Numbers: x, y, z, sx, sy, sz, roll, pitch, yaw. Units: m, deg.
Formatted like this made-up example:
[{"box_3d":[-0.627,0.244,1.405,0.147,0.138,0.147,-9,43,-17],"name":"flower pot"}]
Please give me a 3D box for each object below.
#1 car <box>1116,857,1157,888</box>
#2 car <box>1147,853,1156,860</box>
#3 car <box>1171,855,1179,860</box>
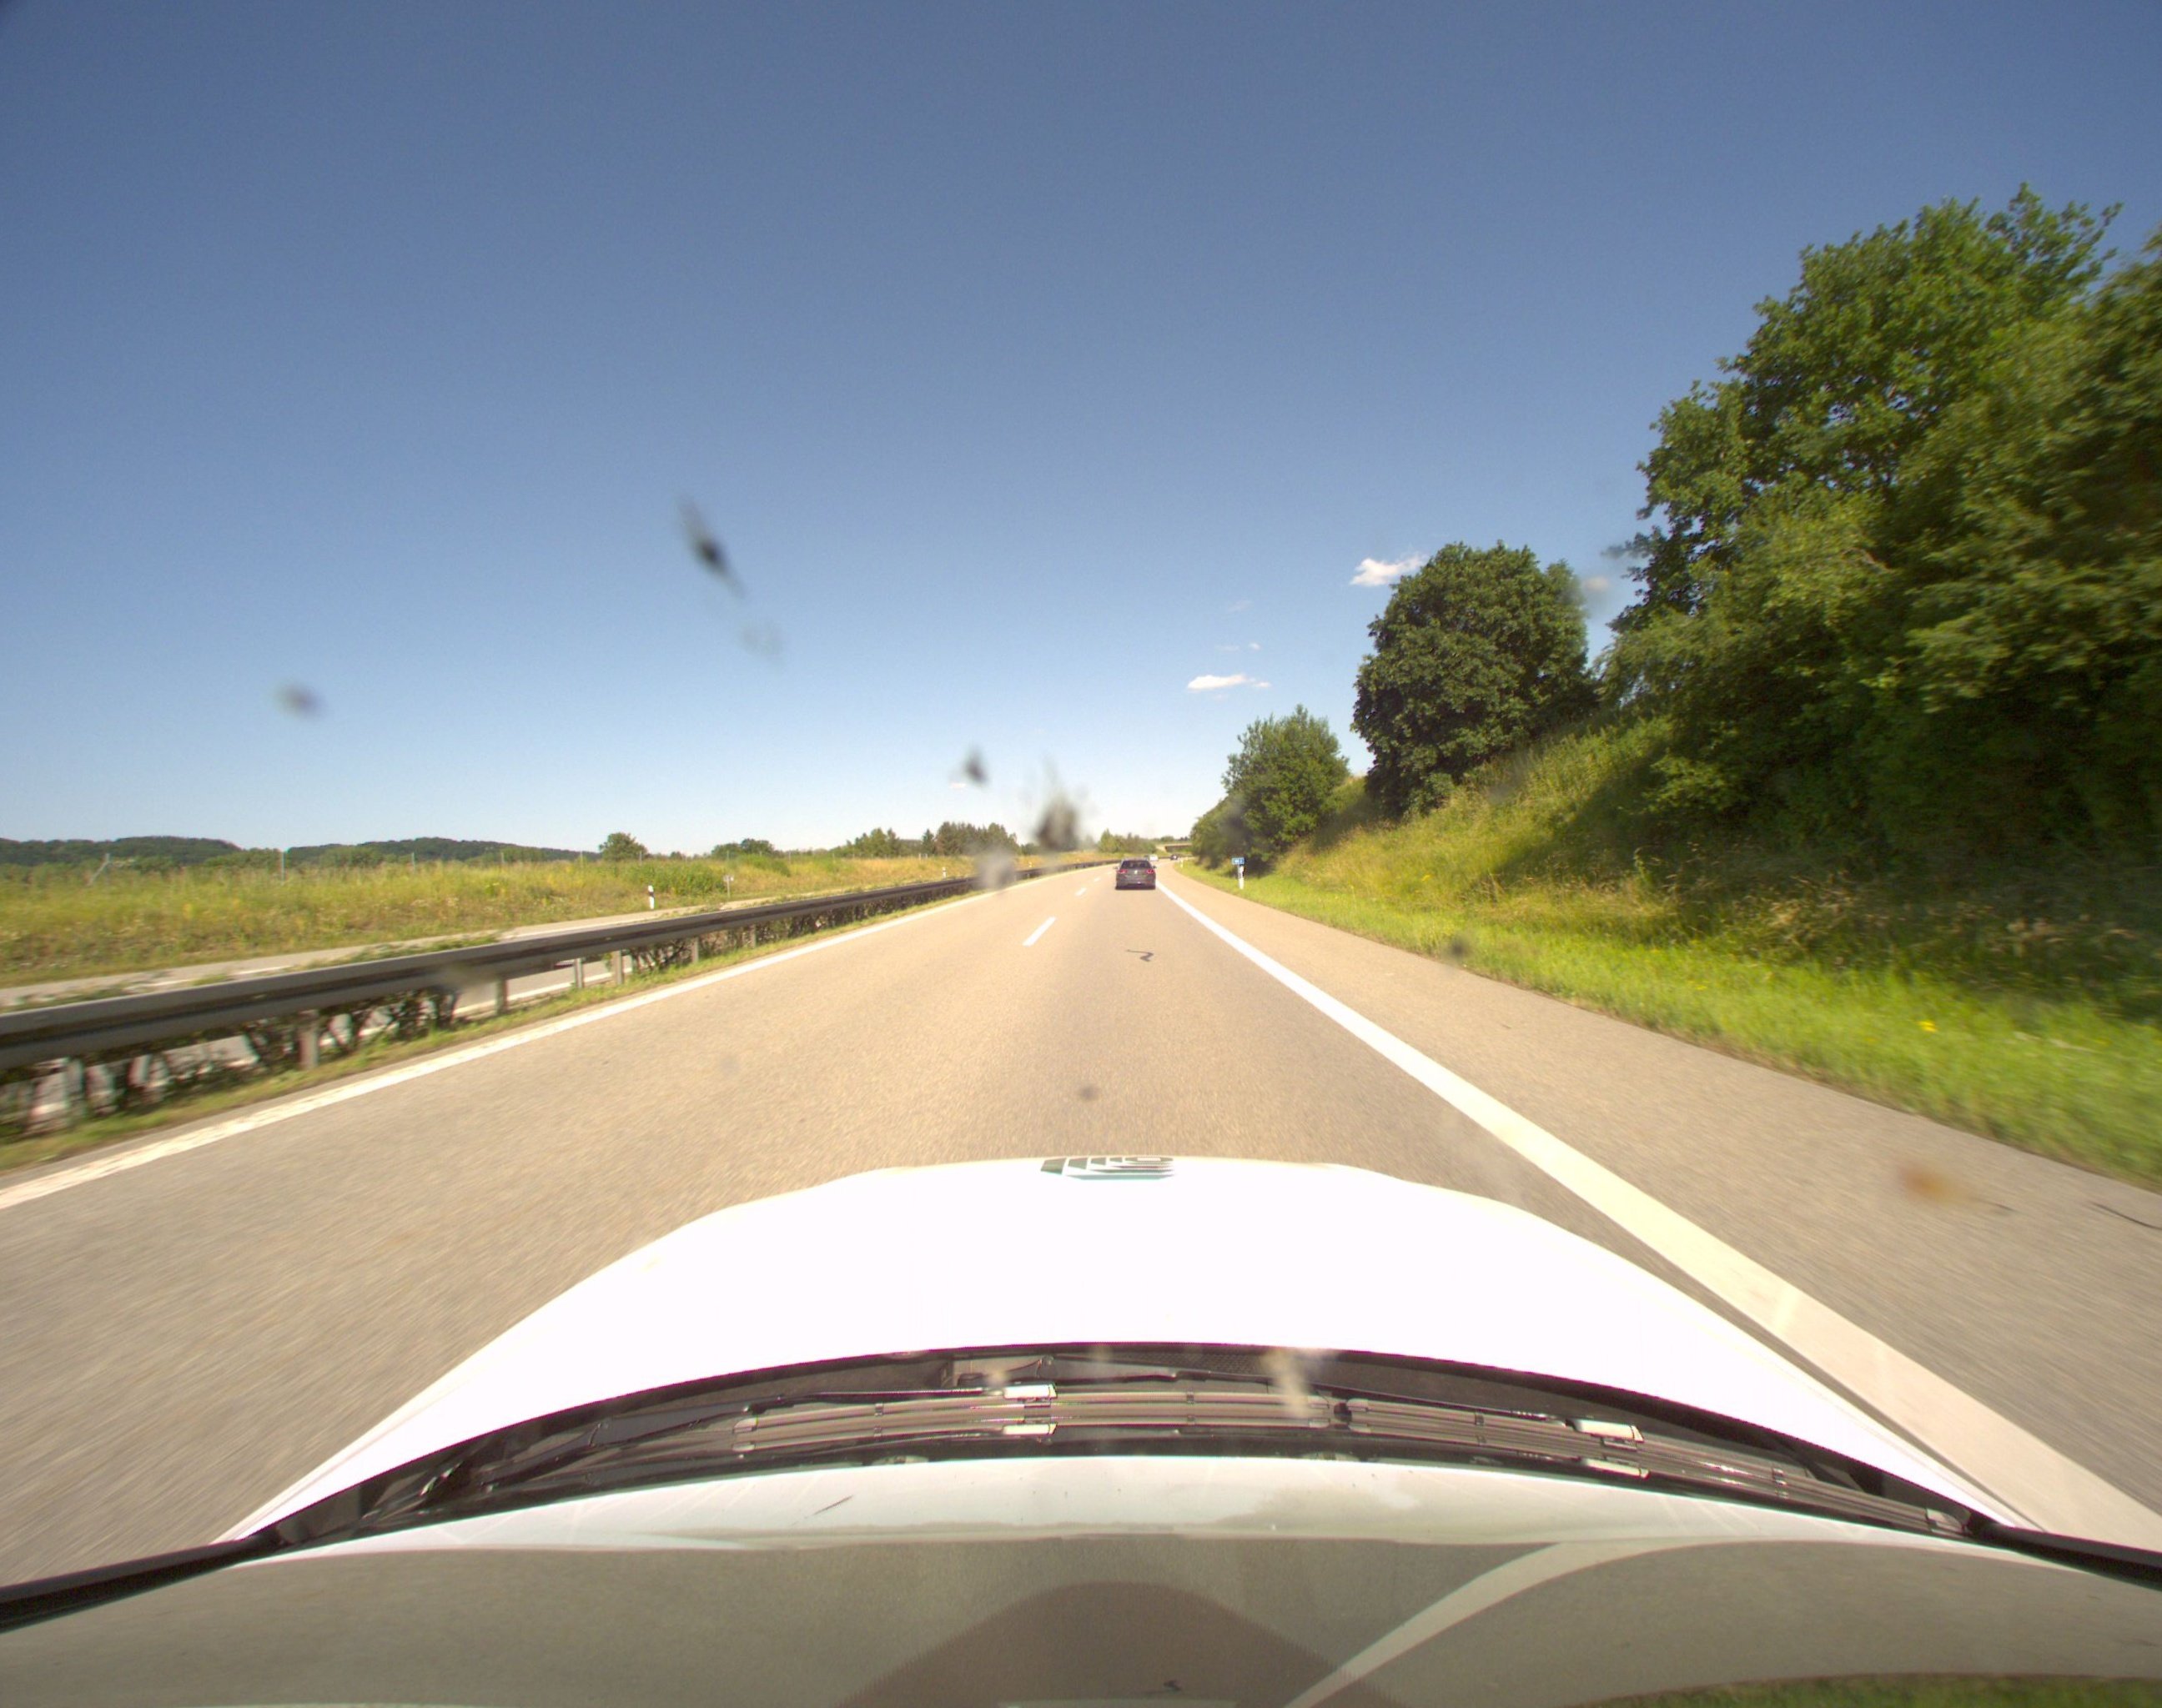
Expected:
[{"box_3d":[2.591,0.863,37.479,1.783,1.344,4.004,0,-1,4],"name":"car"},{"box_3d":[16.137,0.593,185.648,1.996,1.345,4.007,0,-1,7],"name":"car"},{"box_3d":[23.708,0.880,205.099,1.701,1.387,3.363,0,-1,9],"name":"car"}]
